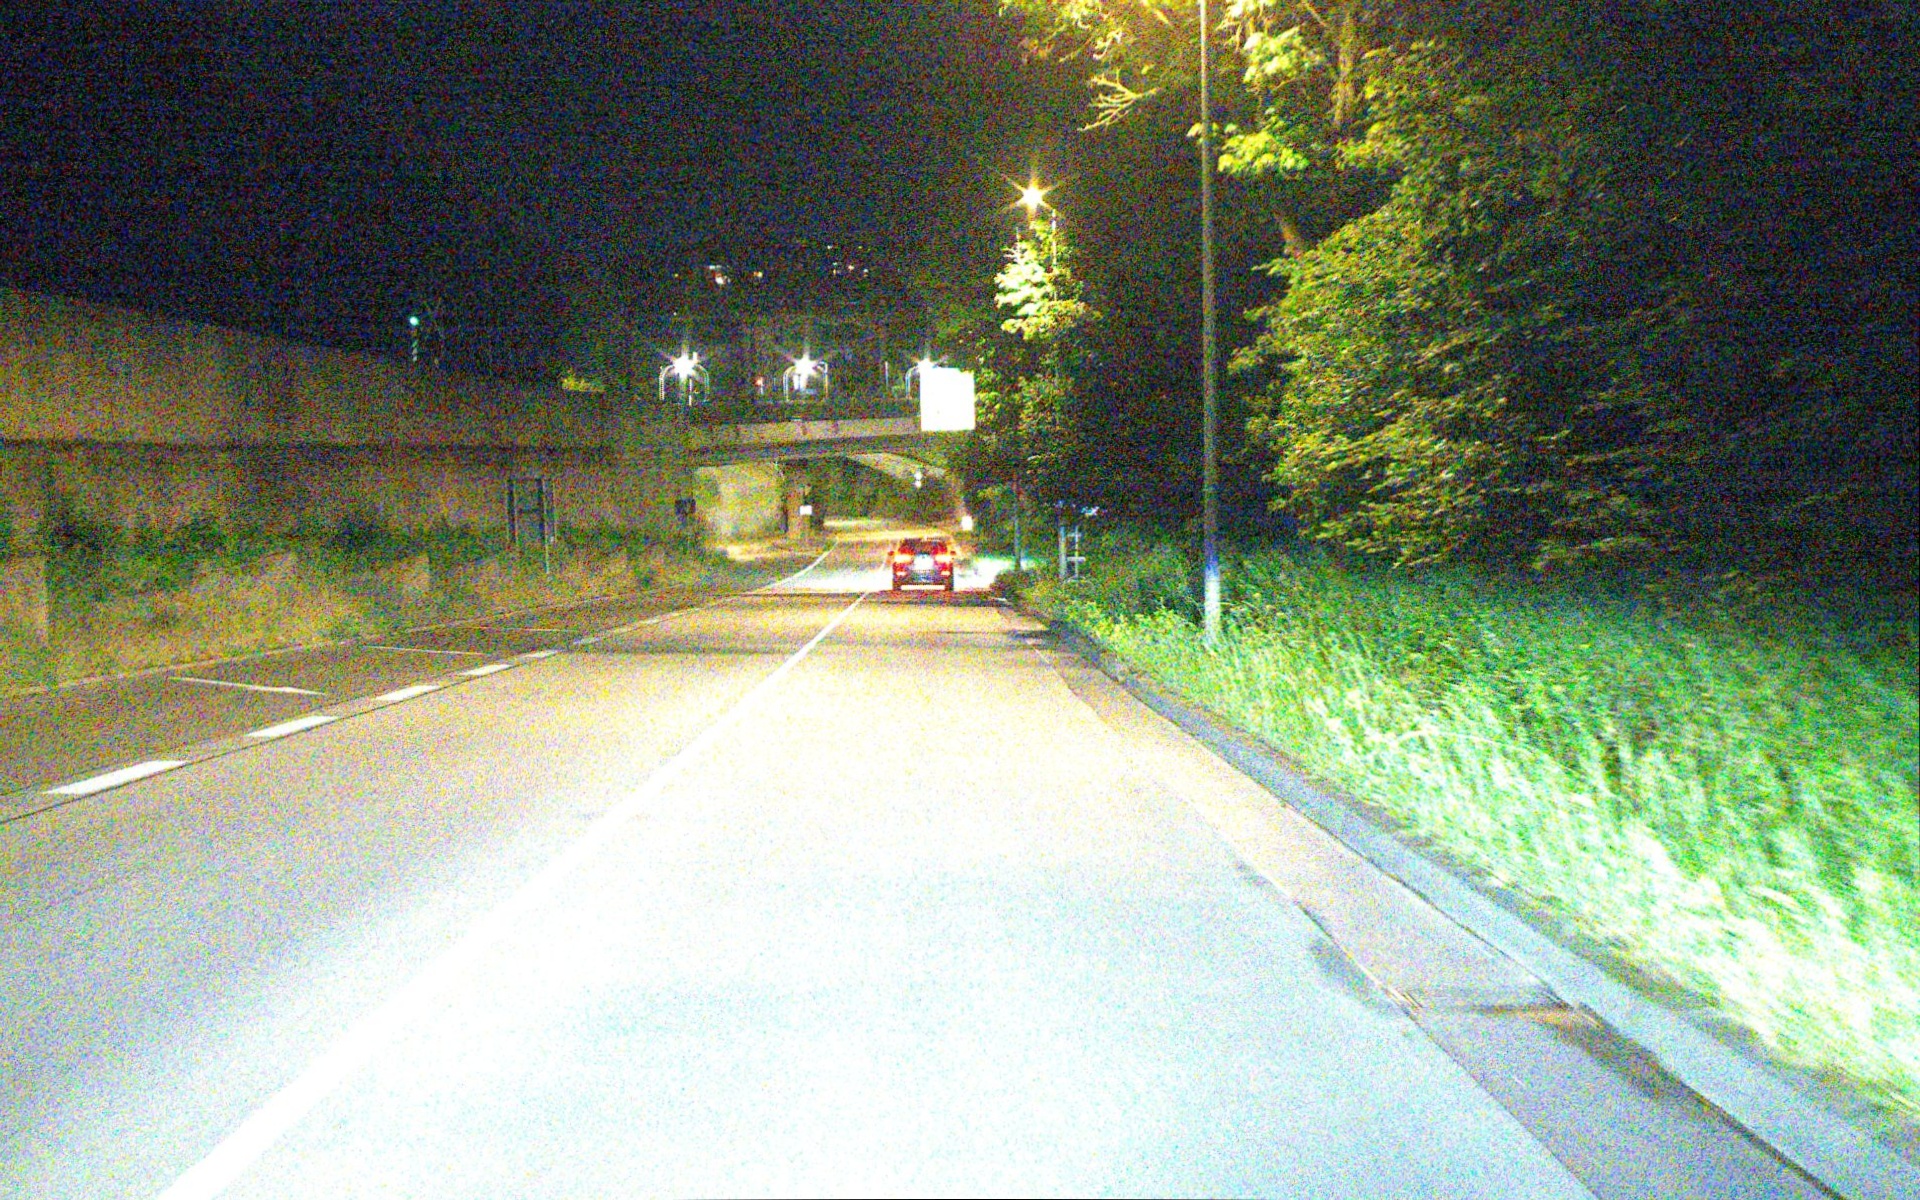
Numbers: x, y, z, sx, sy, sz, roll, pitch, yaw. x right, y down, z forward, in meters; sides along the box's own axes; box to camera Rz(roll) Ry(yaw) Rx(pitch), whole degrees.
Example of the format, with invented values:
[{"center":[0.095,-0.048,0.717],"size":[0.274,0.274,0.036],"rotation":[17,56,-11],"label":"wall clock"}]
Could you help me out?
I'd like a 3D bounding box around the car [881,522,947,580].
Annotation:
[{"center":[-1.353,-1.473,102.244],"size":[1.763,1.636,3.723],"rotation":[0,2,2],"label":"car"}]
